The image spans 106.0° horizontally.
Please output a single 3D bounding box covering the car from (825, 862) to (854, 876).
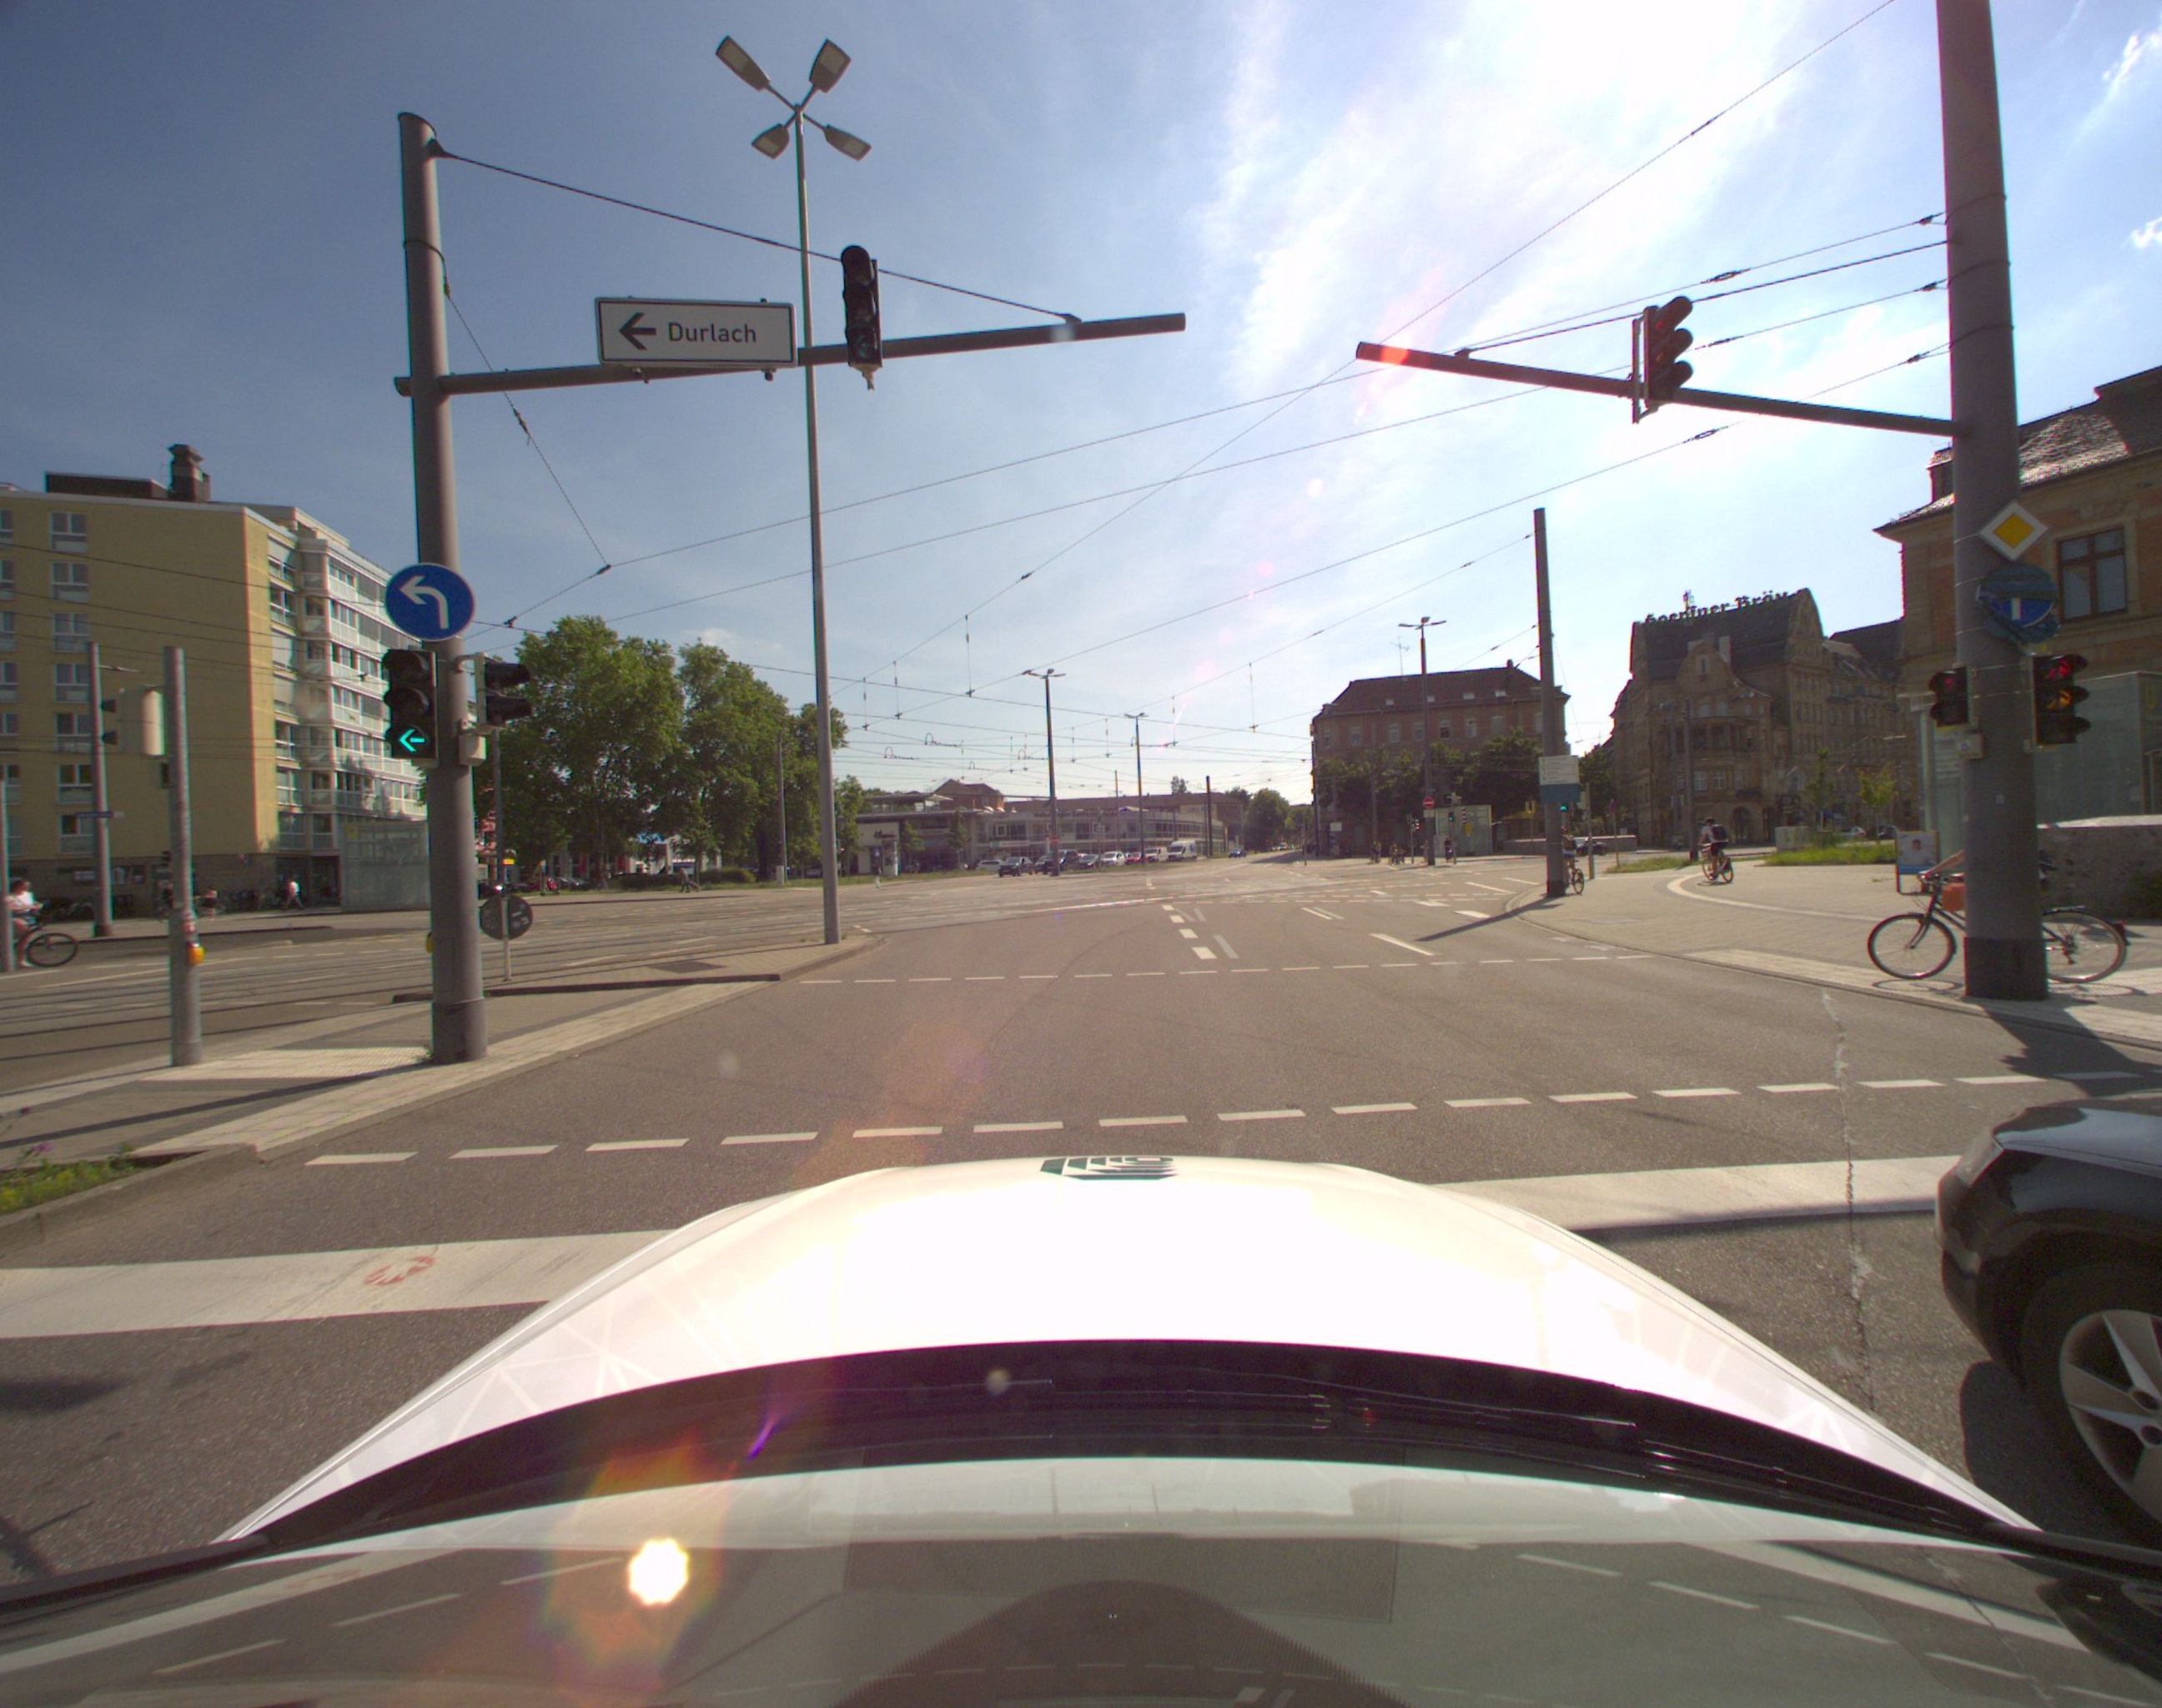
[{"bbox_3d":[-29.998,1.850,101.233,1.983,1.684,4.007,-1,-1,7],"label":"car"}]

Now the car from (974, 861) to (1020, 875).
[{"bbox_3d":[-8.967,1.498,86.995,4.550,1.436,1.450,-1,-1,15],"label":"car"}]

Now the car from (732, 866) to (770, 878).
[{"bbox_3d":[-41.346,2.258,102.015,3.973,1.371,2.000,0,0,1],"label":"car"}]

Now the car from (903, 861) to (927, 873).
[{"bbox_3d":[-20.391,1.592,100.199,1.987,1.486,4.000,1,0,0],"label":"car"}]

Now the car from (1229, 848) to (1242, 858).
[{"bbox_3d":[23.161,-0.127,122.166,1.372,1.414,3.028,-1,-1,21],"label":"car"}]

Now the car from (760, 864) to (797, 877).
[{"bbox_3d":[-38.961,2.103,105.013,3.974,1.552,2.000,-2,0,0],"label":"car"}]

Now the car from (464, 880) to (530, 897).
[{"bbox_3d":[-47.557,2.810,66.430,3.994,1.270,1.734,0,-1,-15],"label":"car"}]

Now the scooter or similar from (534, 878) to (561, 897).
[{"bbox_3d":[-32.288,2.031,49.314,1.351,1.119,0.519,-2,0,11],"label":"scooter or similar"}]

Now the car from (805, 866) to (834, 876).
[{"bbox_3d":[-32.358,2.084,100.884,1.983,1.244,4.007,-1,0,7],"label":"car"}]

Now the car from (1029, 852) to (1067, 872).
[{"bbox_3d":[-2.835,0.673,70.232,1.879,1.588,4.019,-3,-1,19],"label":"car"}]

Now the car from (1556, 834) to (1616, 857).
[{"bbox_3d":[37.471,-0.630,60.438,3.999,1.584,1.628,-2,0,-19],"label":"car"}]

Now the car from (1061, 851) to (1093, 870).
[{"bbox_3d":[-0.349,0.609,77.076,1.638,1.739,4.220,-3,-1,19],"label":"car"}]

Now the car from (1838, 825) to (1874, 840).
[{"bbox_3d":[77.491,-2.176,81.409,3.594,1.345,1.623,-2,0,-30],"label":"car"}]

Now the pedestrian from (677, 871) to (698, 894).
[{"bbox_3d":[-24.158,1.726,50.022,1.117,1.404,0.652,0,-1,-20],"label":"pedestrian"}]

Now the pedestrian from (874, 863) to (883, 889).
[{"bbox_3d":[-12.891,1.401,51.835,0.456,1.605,0.396,0,-1,-35],"label":"pedestrian"}]

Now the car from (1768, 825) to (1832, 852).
[{"bbox_3d":[38.969,-0.852,44.116,3.465,1.313,1.655,-2,0,-32],"label":"car"}]

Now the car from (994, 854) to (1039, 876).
[{"bbox_3d":[-4.994,0.872,63.459,1.876,1.588,4.230,-3,-1,19],"label":"car"}]

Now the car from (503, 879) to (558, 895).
[{"bbox_3d":[-49.980,3.000,74.018,3.730,1.340,1.734,0,-1,-15],"label":"car"}]

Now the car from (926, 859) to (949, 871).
[{"bbox_3d":[-17.623,1.323,100.117,1.987,1.486,4.000,0,0,0],"label":"car"}]

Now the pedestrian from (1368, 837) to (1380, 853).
[{"bbox_3d":[26.292,-0.781,73.074,0.616,1.433,0.705,0,-1,-36],"label":"pedestrian"}]

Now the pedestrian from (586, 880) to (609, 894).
[{"bbox_3d":[-33.379,2.261,56.197,1.175,0.892,0.817,-2,0,-18],"label":"pedestrian"}]

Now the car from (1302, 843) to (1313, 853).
[{"bbox_3d":[45.629,-1.227,163.998,2.092,2.013,4.017,-2,0,16],"label":"car"}]

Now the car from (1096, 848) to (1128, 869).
[{"bbox_3d":[2.992,0.444,77.762,1.879,1.917,4.220,-3,-1,19],"label":"car"}]

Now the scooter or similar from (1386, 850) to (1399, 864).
[{"bbox_3d":[22.058,0.203,57.654,0.584,0.976,0.992,0,-1,1],"label":"scooter or similar"}]

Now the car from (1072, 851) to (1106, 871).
[{"bbox_3d":[0.733,0.608,70.511,1.880,1.588,4.017,-3,-1,16],"label":"car"}]

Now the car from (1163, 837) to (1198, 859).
[{"bbox_3d":[12.110,-0.724,98.631,2.188,2.575,5.910,-1,-1,28],"label":"car"}]

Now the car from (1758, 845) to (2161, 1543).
[{"bbox_3d":[3.020,0.674,0.268,1.625,1.435,4.779,-1,-1,0],"label":"car"}]

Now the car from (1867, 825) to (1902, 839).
[{"bbox_3d":[83.995,-2.285,85.106,3.621,1.345,1.623,-3,0,-30],"label":"car"}]

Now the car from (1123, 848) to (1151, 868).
[{"bbox_3d":[5.831,0.398,84.606,1.879,1.917,4.220,-3,-1,19],"label":"car"}]

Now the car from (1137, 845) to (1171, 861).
[{"bbox_3d":[8.289,-0.136,91.735,2.165,1.680,5.058,-3,0,24],"label":"car"}]

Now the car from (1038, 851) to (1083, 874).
[{"bbox_3d":[-1.539,0.646,63.972,1.945,1.587,4.739,-2,0,19],"label":"car"}]

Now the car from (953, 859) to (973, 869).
[{"bbox_3d":[-14.460,1.175,99.664,1.824,1.195,4.000,0,0,1],"label":"car"}]

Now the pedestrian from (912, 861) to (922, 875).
[{"bbox_3d":[-18.396,1.534,91.397,0.951,1.580,0.534,0,-1,-2],"label":"pedestrian"}]

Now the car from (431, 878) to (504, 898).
[{"bbox_3d":[-46.671,2.588,62.009,3.994,1.440,1.881,0,-1,-15],"label":"car"}]
